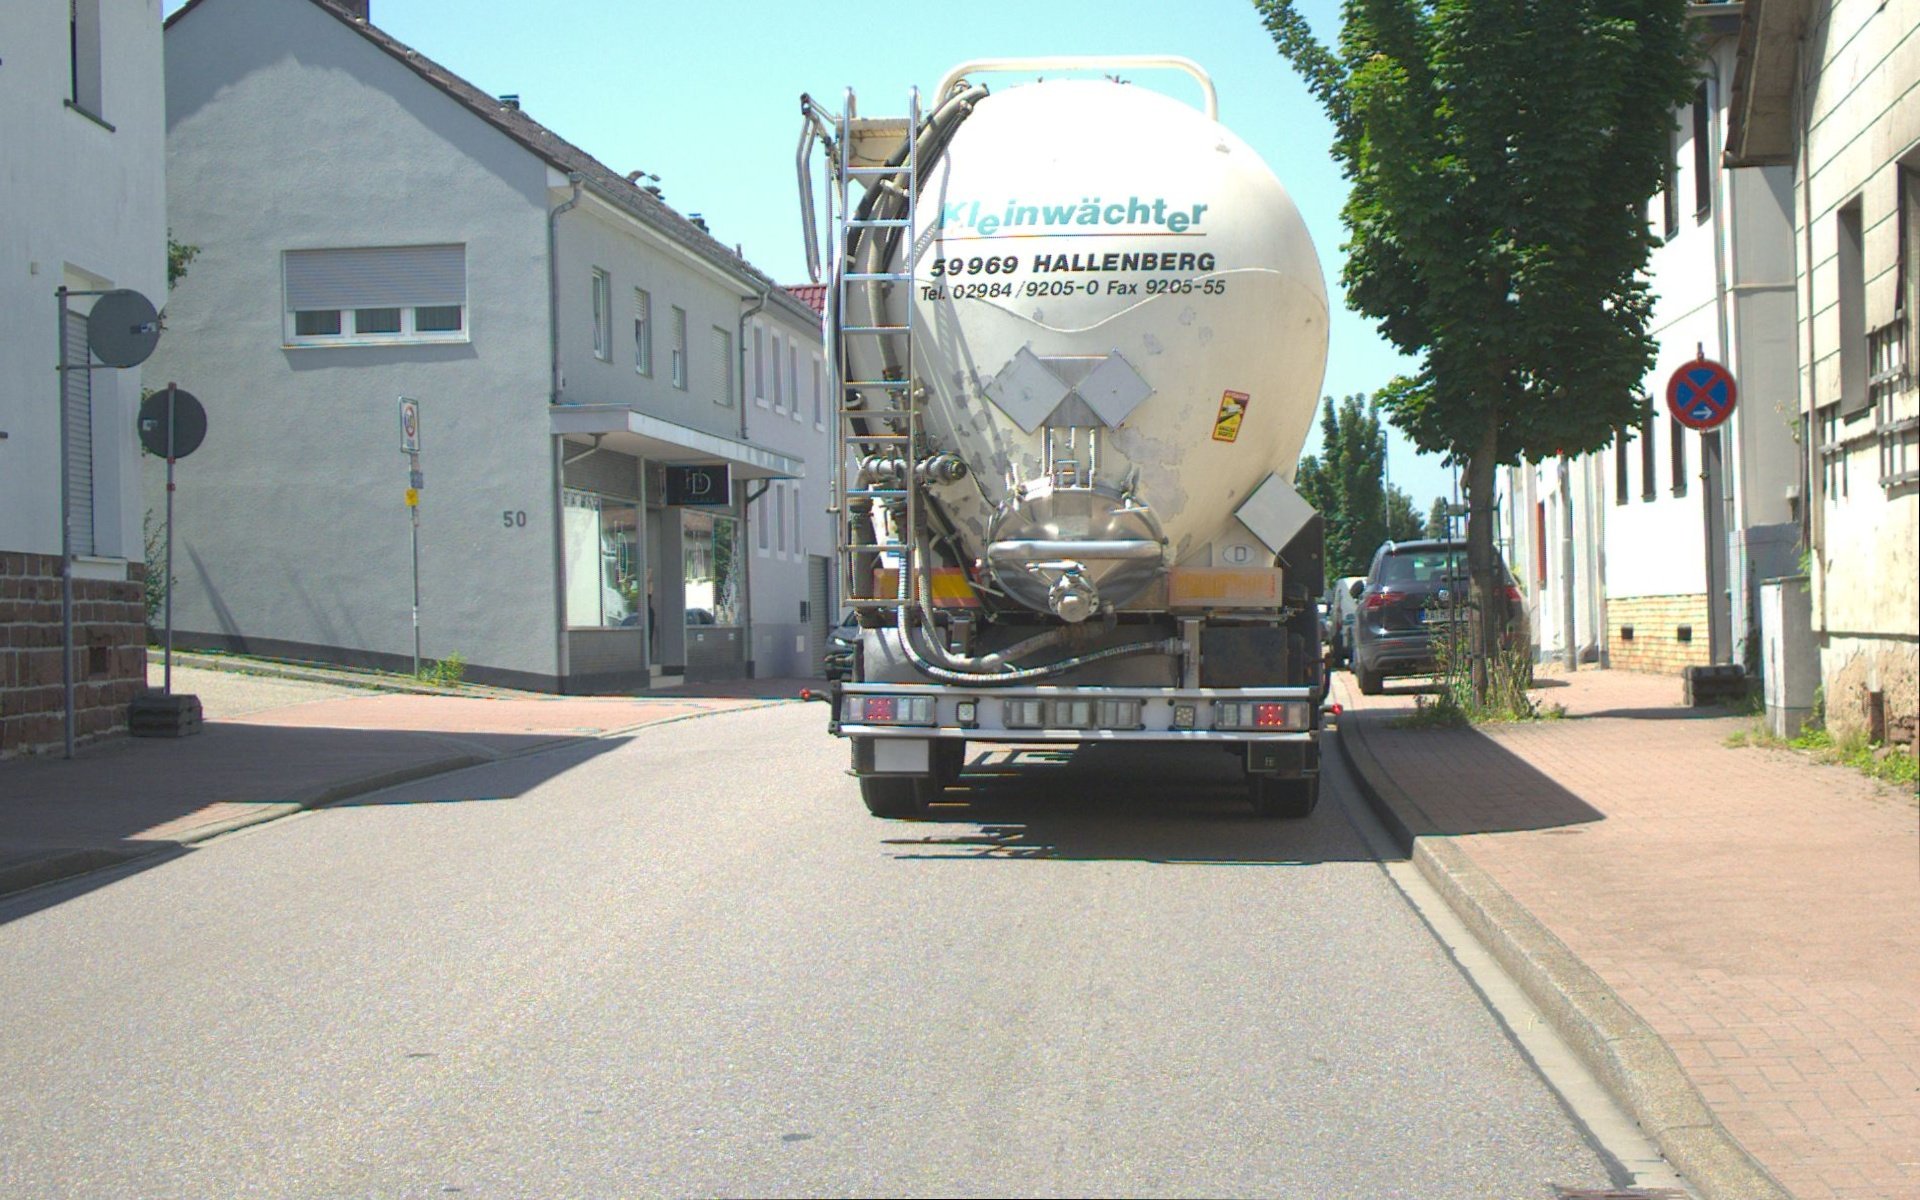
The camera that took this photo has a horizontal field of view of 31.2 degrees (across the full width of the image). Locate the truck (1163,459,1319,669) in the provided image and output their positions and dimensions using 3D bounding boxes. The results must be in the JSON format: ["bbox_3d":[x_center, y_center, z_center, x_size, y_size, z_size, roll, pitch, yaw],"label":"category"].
[{"bbox_3d":[5.819,-0.809,71.675,2.963,4.055,9.282,-1,1,4],"label":"truck"}]

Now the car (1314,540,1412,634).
[{"bbox_3d":[9.079,-0.273,77.797,1.946,1.964,4.784,-2,0,4],"label":"car"}]

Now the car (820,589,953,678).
[{"bbox_3d":[-1.297,0.601,62.587,1.808,1.552,4.563,0,0,6],"label":"car"}]

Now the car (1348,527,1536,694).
[{"bbox_3d":[5.237,0.092,37.813,1.802,1.608,4.547,-4,0,6],"label":"car"}]

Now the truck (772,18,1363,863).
[{"bbox_3d":[0.776,-0.791,20.229,2.733,3.946,8.140,1,0,4],"label":"truck"}]

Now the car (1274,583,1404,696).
[{"bbox_3d":[5.535,0.568,50.229,1.701,1.442,4.835,-4,-1,6],"label":"car"}]
